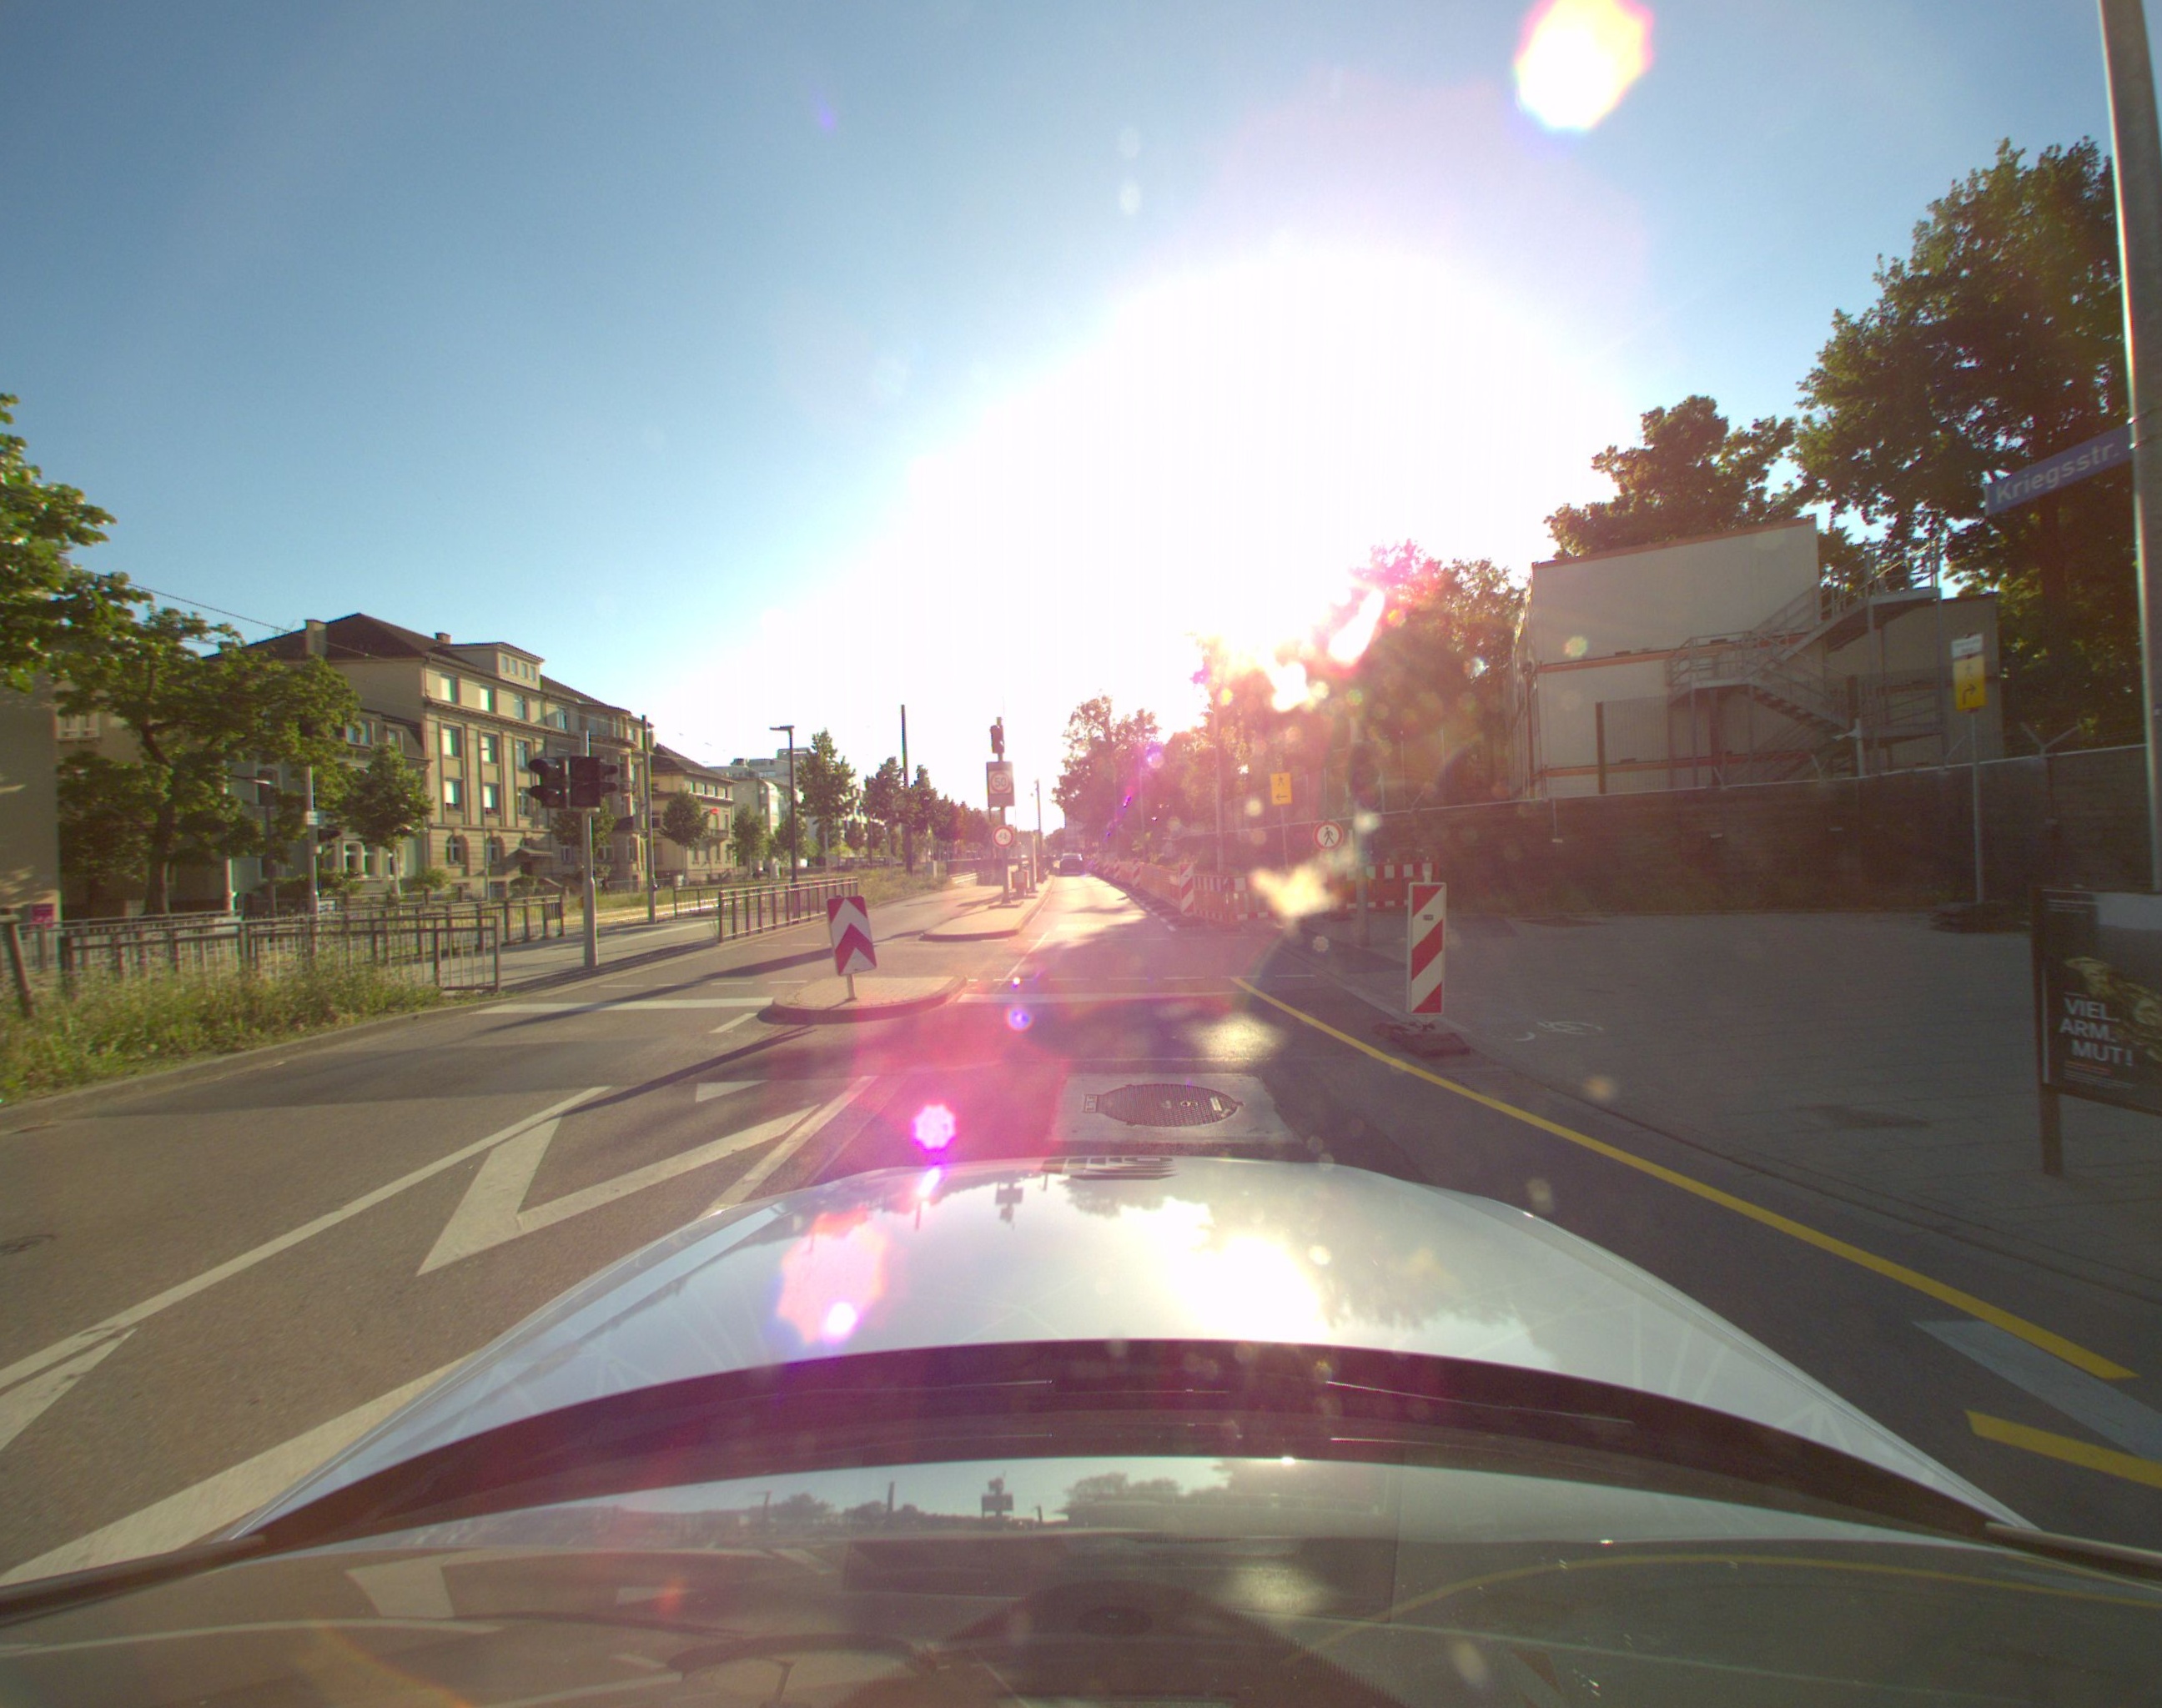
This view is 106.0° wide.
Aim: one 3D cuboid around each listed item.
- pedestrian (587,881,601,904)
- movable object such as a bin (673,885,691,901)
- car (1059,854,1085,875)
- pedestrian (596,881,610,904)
[{"bbox_3d":[-37.438,2.976,62.635,0.654,1.720,0.652,-3,0,-2],"label":"pedestrian"},{"bbox_3d":[-38.701,3.778,79.009,1.202,1.429,1.079,-3,0,-2],"label":"movable object such as a bin"},{"bbox_3d":[-0.694,0.833,65.313,1.999,1.659,3.998,-1,-1,-1],"label":"car"},{"bbox_3d":[-36.783,2.983,62.672,0.554,1.720,0.652,-3,0,-2],"label":"pedestrian"}]
